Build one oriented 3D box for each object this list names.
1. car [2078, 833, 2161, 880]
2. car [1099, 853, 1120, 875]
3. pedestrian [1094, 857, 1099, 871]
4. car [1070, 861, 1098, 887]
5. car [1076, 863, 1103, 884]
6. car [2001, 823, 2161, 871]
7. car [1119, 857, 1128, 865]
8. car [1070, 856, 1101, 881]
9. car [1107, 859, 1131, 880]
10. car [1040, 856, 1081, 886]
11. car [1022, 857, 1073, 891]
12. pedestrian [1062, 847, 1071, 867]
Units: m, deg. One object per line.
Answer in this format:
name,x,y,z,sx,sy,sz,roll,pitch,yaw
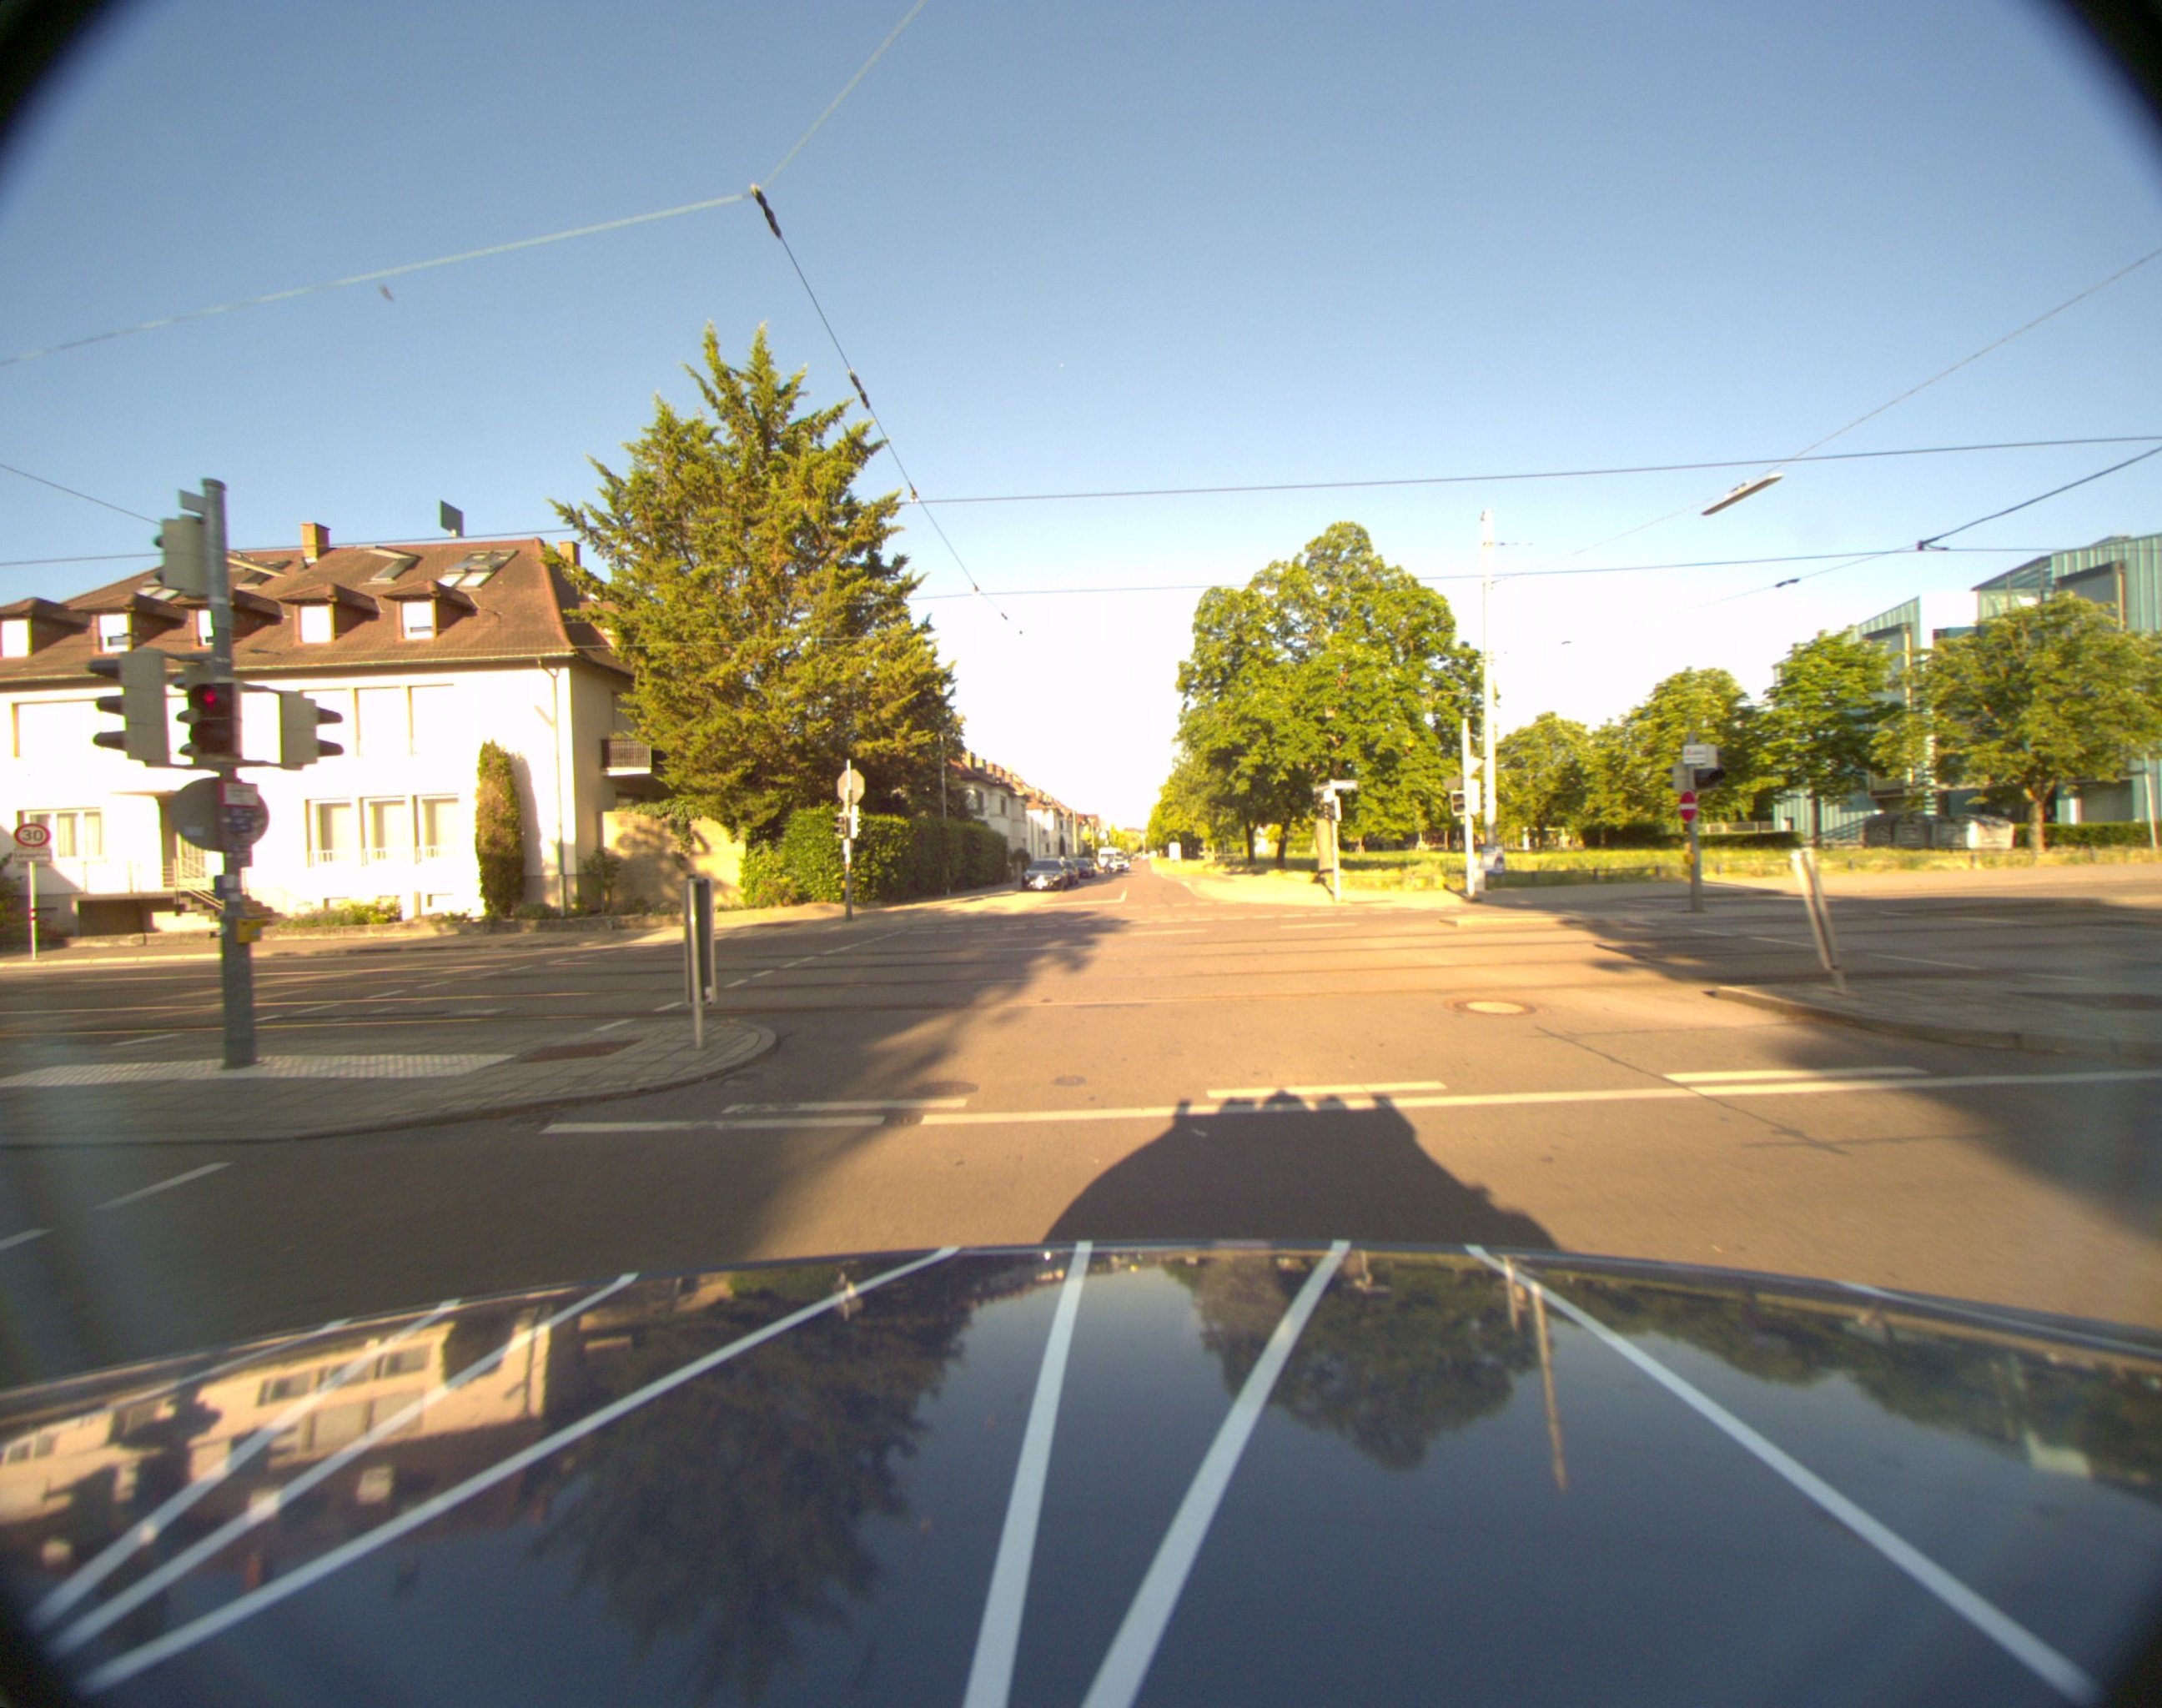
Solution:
car,42.730,0.012,29.495,5.219,1.662,2.000,-3,0,3
car,3.517,1.193,91.715,2.131,2.461,5.726,-4,0,5
pedestrian,2.106,1.360,100.210,0.531,1.787,0.589,-4,0,4
car,0.269,1.498,58.300,1.998,1.751,4.000,-4,0,1
car,0.685,1.534,59.384,1.679,1.525,3.473,-4,-1,7
car,42.819,-0.293,32.087,5.218,1.662,1.968,-4,0,3
car,8.264,1.450,148.666,1.681,1.543,3.844,0,0,3
car,0.341,1.045,53.727,1.795,1.586,4.079,-4,-1,5
car,3.615,1.430,71.463,1.998,1.775,4.001,-3,0,5
car,-1.113,0.940,42.791,1.783,1.468,4.002,-4,-1,5
car,-1.520,0.929,36.531,2.008,1.489,4.917,1,-1,3
pedestrian,-1.364,0.278,71.383,0.587,1.835,0.824,-4,1,7
